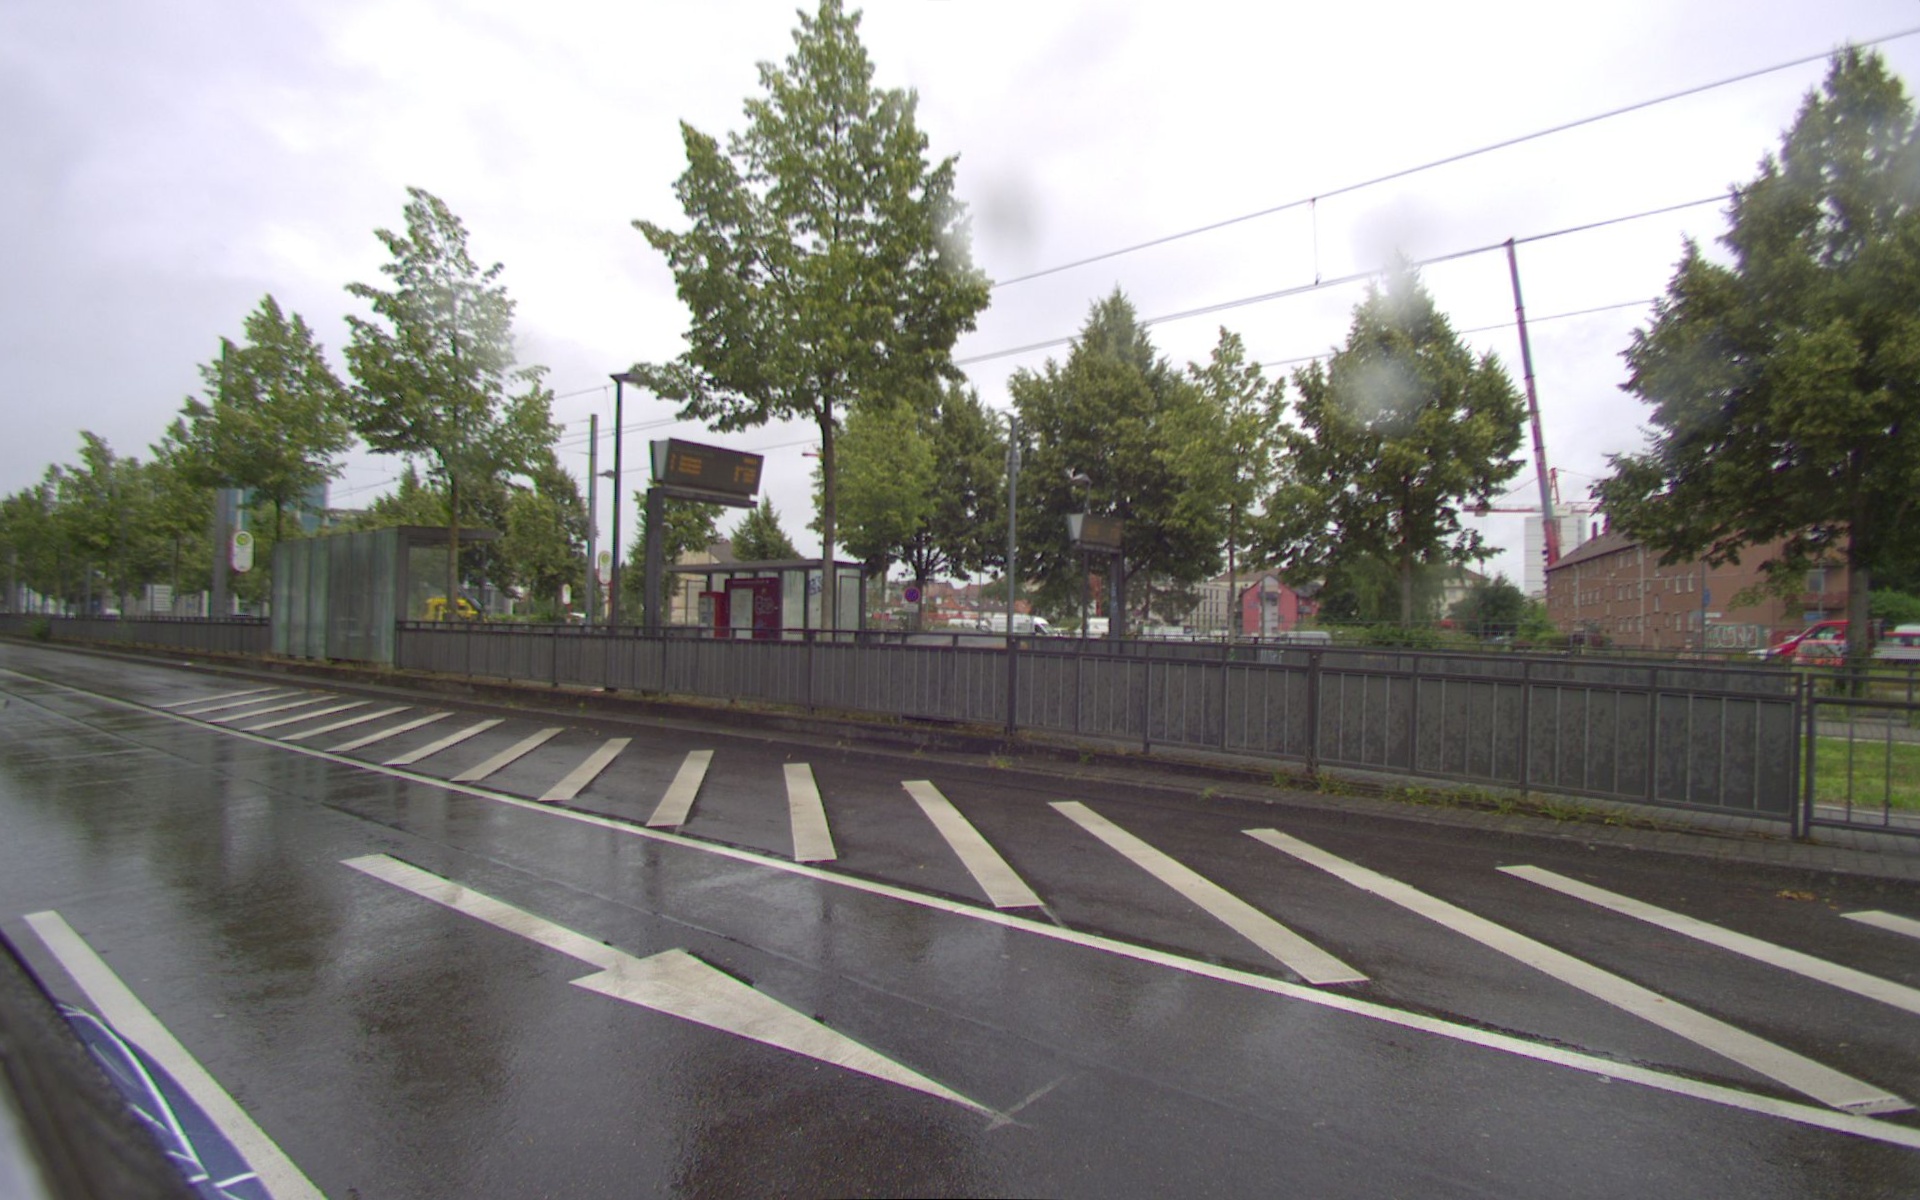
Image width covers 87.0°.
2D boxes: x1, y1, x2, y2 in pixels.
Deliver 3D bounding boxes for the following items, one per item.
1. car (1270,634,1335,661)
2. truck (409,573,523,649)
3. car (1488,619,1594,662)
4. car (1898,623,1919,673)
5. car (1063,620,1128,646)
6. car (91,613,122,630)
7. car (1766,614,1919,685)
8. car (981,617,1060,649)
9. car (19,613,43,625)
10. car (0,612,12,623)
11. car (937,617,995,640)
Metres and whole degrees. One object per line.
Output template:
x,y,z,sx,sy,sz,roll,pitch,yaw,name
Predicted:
26.314,3.615,77.775,4.415,1.891,1.855,0,0,34,car
-27.089,0.552,55.216,9.187,3.806,2.657,0,0,45,truck
35.826,2.449,62.470,5.482,2.471,1.976,0,0,36,car
45.972,2.158,44.930,1.597,2.296,6.114,2,-3,-37,car
11.863,2.875,88.696,5.411,2.067,1.976,0,0,37,car
-98.065,2.459,116.294,3.995,1.759,1.974,0,0,38,car
33.481,1.757,36.632,1.597,2.489,6.500,2,-2,-39,car
5.115,2.766,85.935,6.735,2.480,1.975,0,0,37,car
-134.863,2.738,146.860,3.995,1.759,1.974,0,0,38,car
-156.379,2.787,165.011,3.995,1.759,1.974,0,0,38,car
0.604,2.987,108.315,6.123,2.323,1.978,0,0,32,car
